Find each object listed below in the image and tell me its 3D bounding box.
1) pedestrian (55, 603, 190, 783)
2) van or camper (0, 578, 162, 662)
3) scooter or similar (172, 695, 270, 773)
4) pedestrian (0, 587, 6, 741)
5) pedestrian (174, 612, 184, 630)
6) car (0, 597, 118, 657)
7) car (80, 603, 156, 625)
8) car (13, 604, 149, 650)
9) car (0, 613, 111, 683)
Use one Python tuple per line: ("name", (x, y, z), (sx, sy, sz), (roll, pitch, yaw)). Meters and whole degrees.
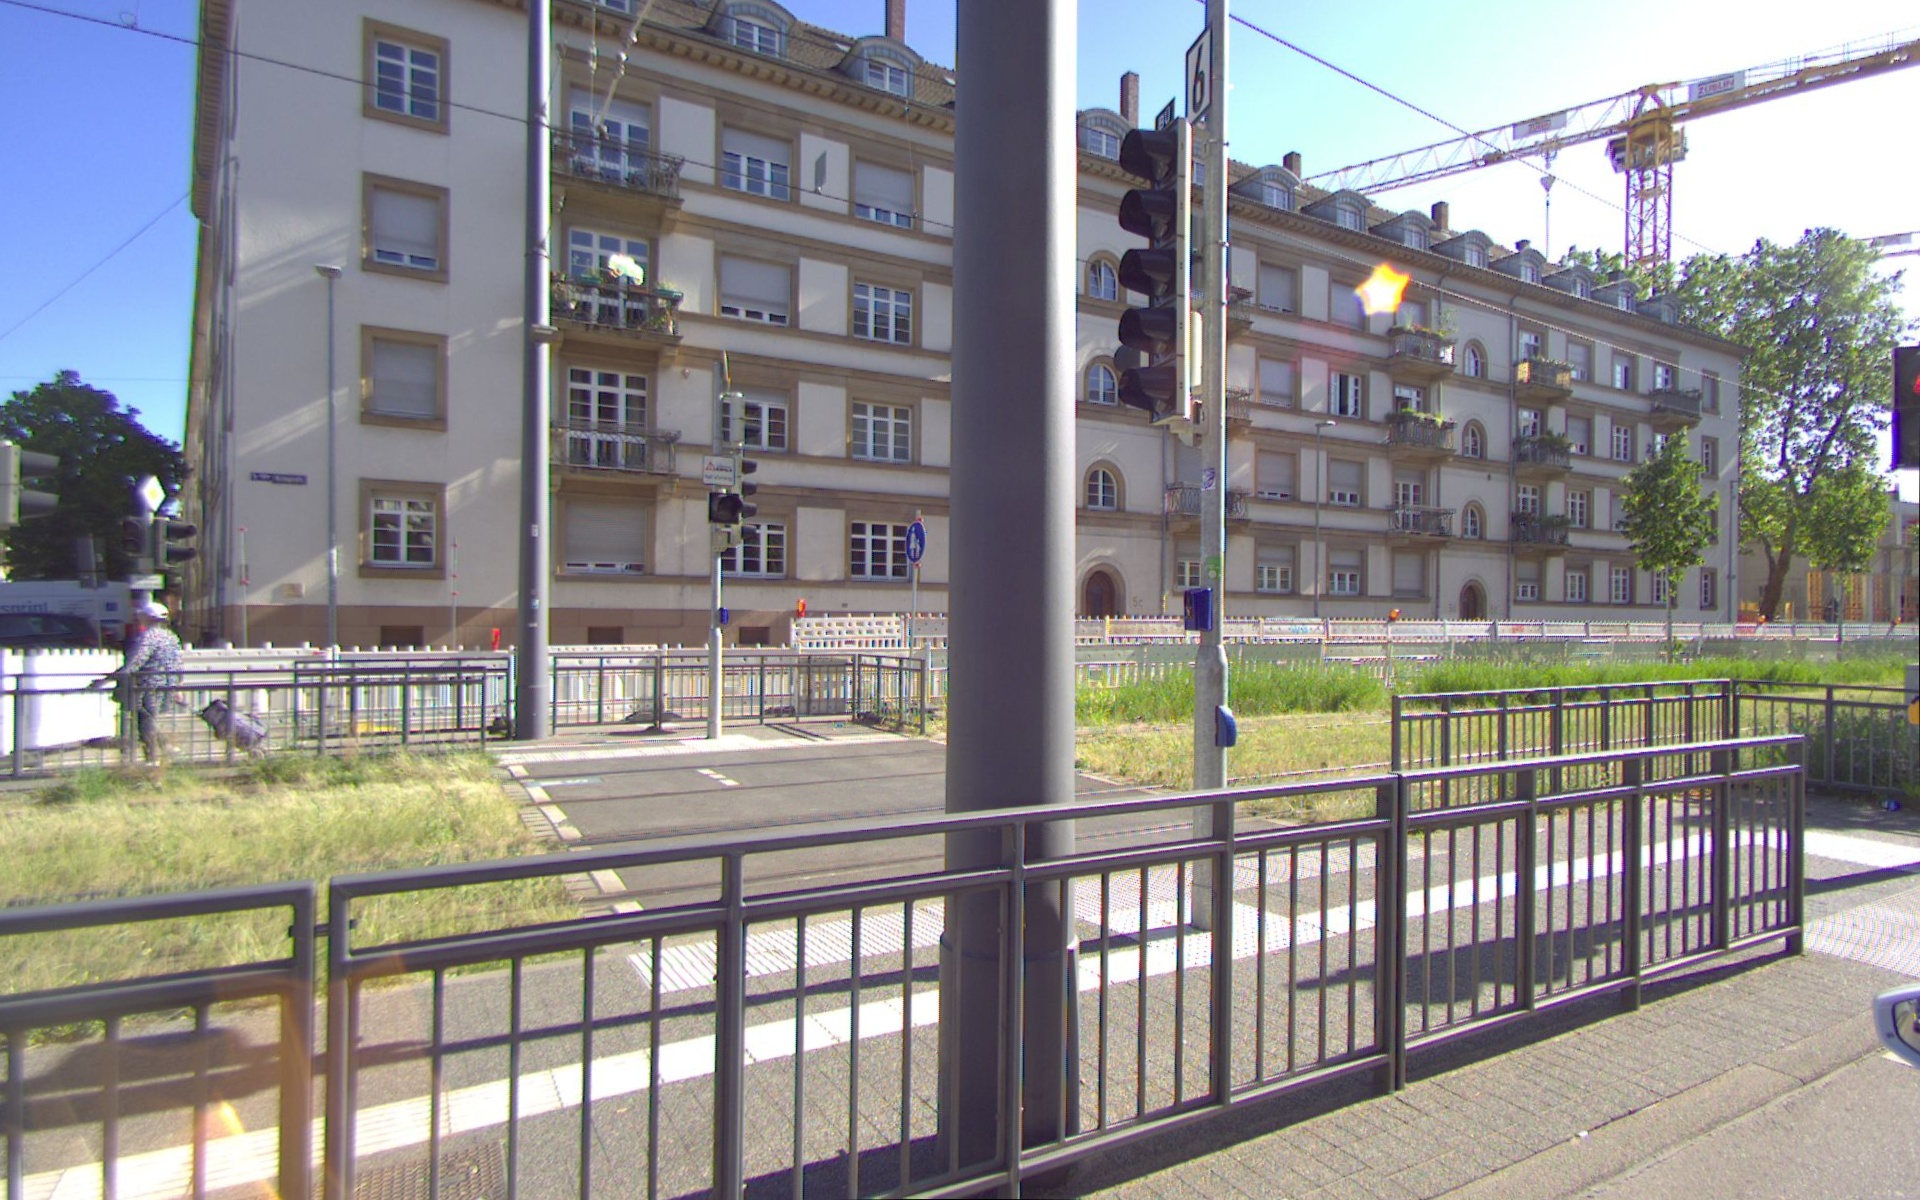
("pedestrian", (-7.687, 0.812, 9.262), (0.805, 1.557, 0.791), (1, 0, -30))
("van or camper", (-27.873, 0.603, 30.242), (5.911, 2.432, 1.976), (1, -1, -42))
("scooter or similar", (-7.133, 1.280, 9.722), (0.701, 0.660, 0.512), (1, 0, -30))
("pedestrian", (-11.573, 0.747, 11.335), (0.896, 1.804, 0.863), (1, 0, -22))
("pedestrian", (-75.469, 2.026, 97.047), (0.682, 1.778, 0.808), (1, -1, -36))
("car", (-24.881, 0.722, 26.785), (3.635, 1.542, 1.672), (1, -1, -39))
("car", (-58.253, 0.982, 69.499), (1.730, 1.480, 3.854), (0, -1, 43))
("car", (-35.538, 1.085, 40.764), (3.963, 1.799, 1.724), (1, -1, -37))
("car", (-21.493, 1.058, 22.547), (3.642, 1.542, 1.672), (1, -1, -39))
